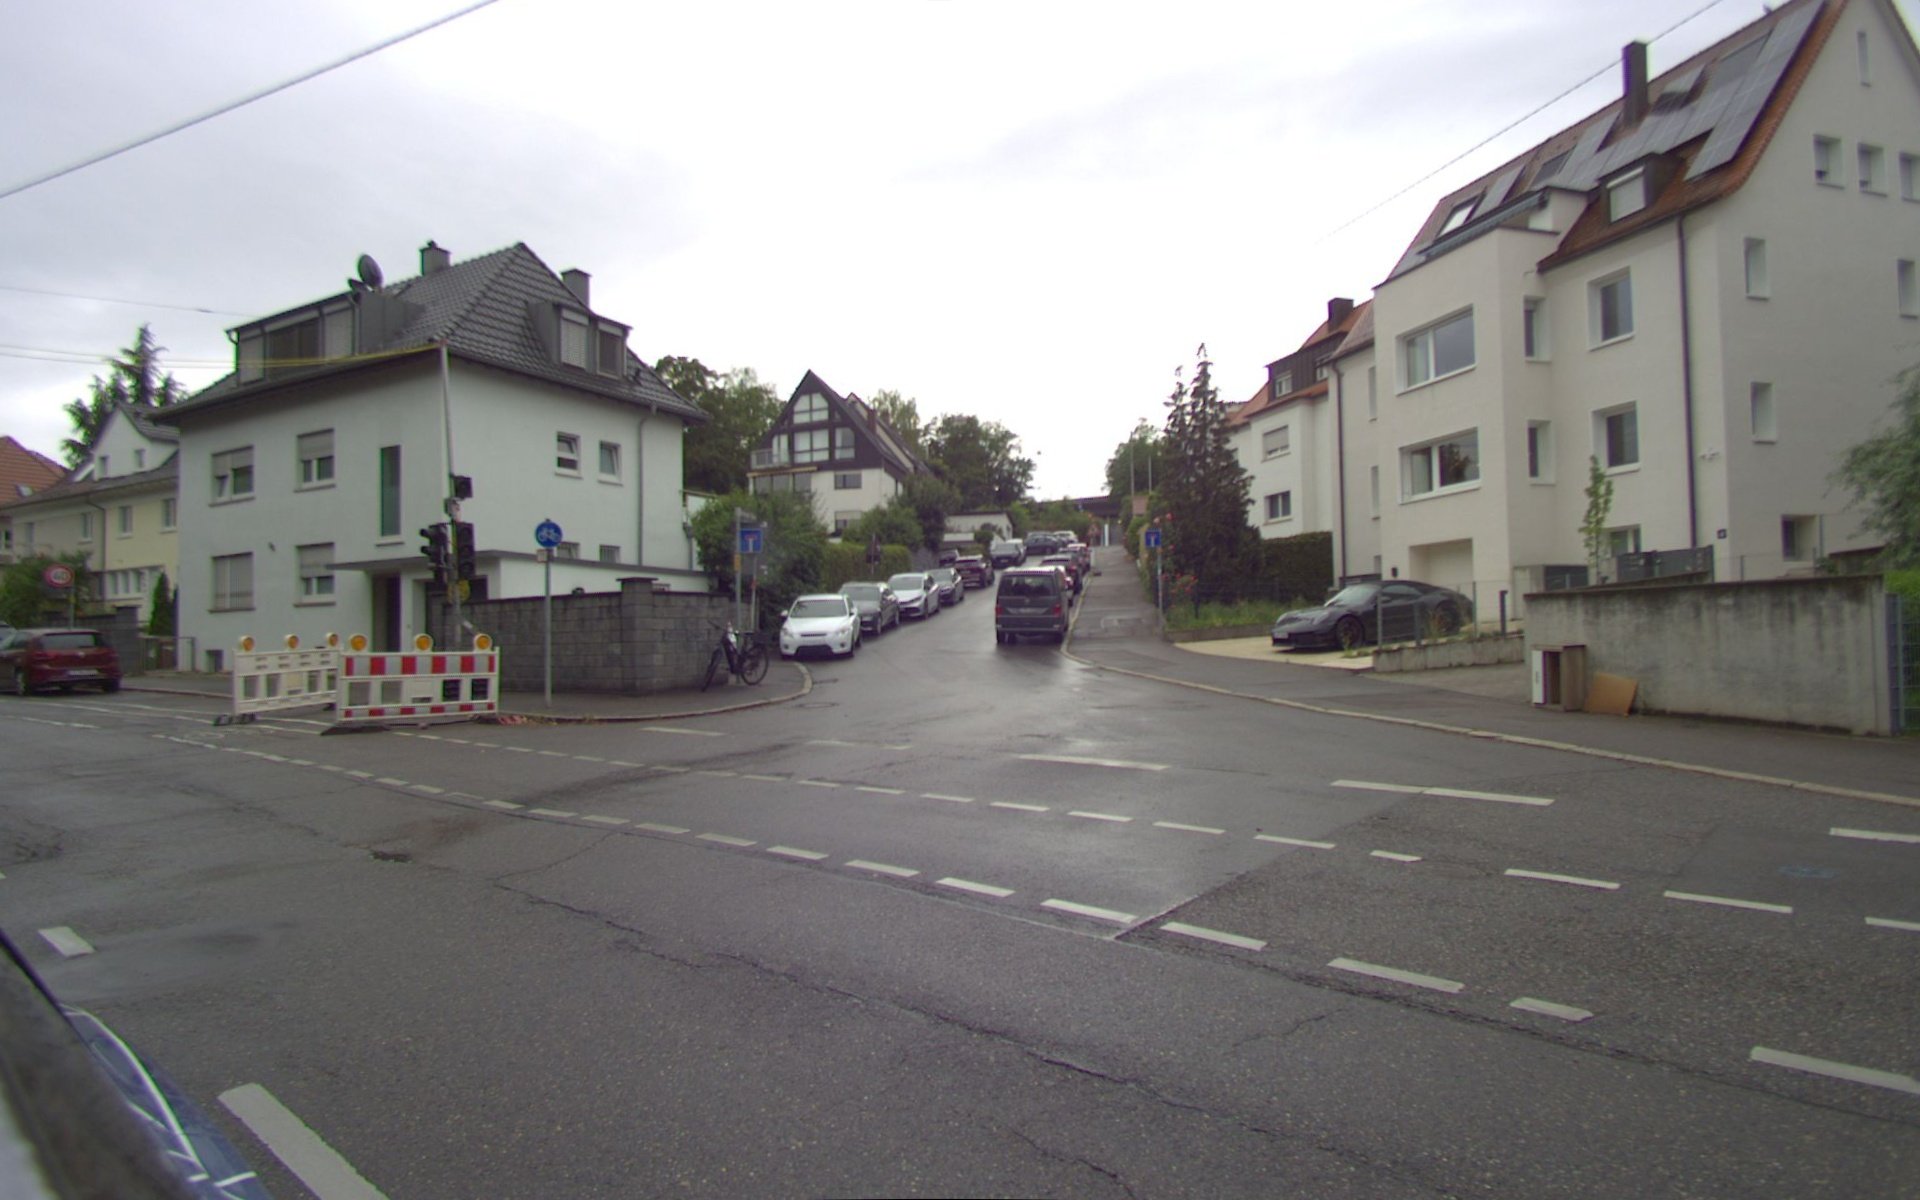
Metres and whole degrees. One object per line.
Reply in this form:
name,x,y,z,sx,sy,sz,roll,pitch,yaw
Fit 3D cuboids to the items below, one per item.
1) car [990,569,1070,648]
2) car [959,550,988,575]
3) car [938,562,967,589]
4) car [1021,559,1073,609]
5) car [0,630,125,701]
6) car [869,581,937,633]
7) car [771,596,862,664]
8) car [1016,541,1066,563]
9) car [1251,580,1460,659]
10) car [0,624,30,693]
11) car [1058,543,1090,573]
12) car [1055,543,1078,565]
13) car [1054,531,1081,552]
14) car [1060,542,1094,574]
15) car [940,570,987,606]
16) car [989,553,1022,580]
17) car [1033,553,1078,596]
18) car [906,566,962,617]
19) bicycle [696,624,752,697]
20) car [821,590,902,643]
car,2.049,0.173,28.465,1.977,1.933,3.991,0,3,8
car,0.937,-2.681,73.597,1.864,1.733,4.002,0,1,-2
car,-0.549,-1.674,69.117,1.864,1.733,4.002,0,1,-2
car,3.450,-0.657,39.500,1.847,1.758,3.991,0,3,8
car,-20.784,1.452,22.868,4.213,1.451,1.605,-2,-2,30
car,-1.983,0.212,36.324,1.867,1.733,3.994,0,1,5
car,-3.512,0.694,25.425,1.864,1.477,4.002,0,1,-2
car,6.661,-3.954,83.135,3.956,1.733,1.885,0,1,10
car,8.281,0.385,21.262,3.754,1.519,1.740,-1,-1,-16
car,-25.478,1.464,25.347,4.381,1.671,1.744,-2,-4,26
car,7.041,-2.590,62.340,1.847,1.758,3.991,0,3,8
car,10.333,-4.429,98.073,1.978,2.029,3.989,0,1,9
car,11.070,-5.973,103.692,1.984,2.029,3.977,0,1,18
car,6.719,-2.418,57.861,1.847,1.758,3.991,0,3,8
car,0.205,-0.636,51.500,1.869,1.733,3.991,0,1,8
car,3.079,-2.210,67.397,1.869,1.733,3.991,0,1,8
car,4.264,-1.175,44.780,1.847,1.758,3.991,0,3,8
car,-1.028,-0.393,42.178,1.867,2.007,3.994,0,1,5
bicycle,-4.075,1.026,17.577,0.458,1.132,1.516,0,1,6
car,-2.948,0.463,31.172,1.867,1.477,3.996,0,1,4
